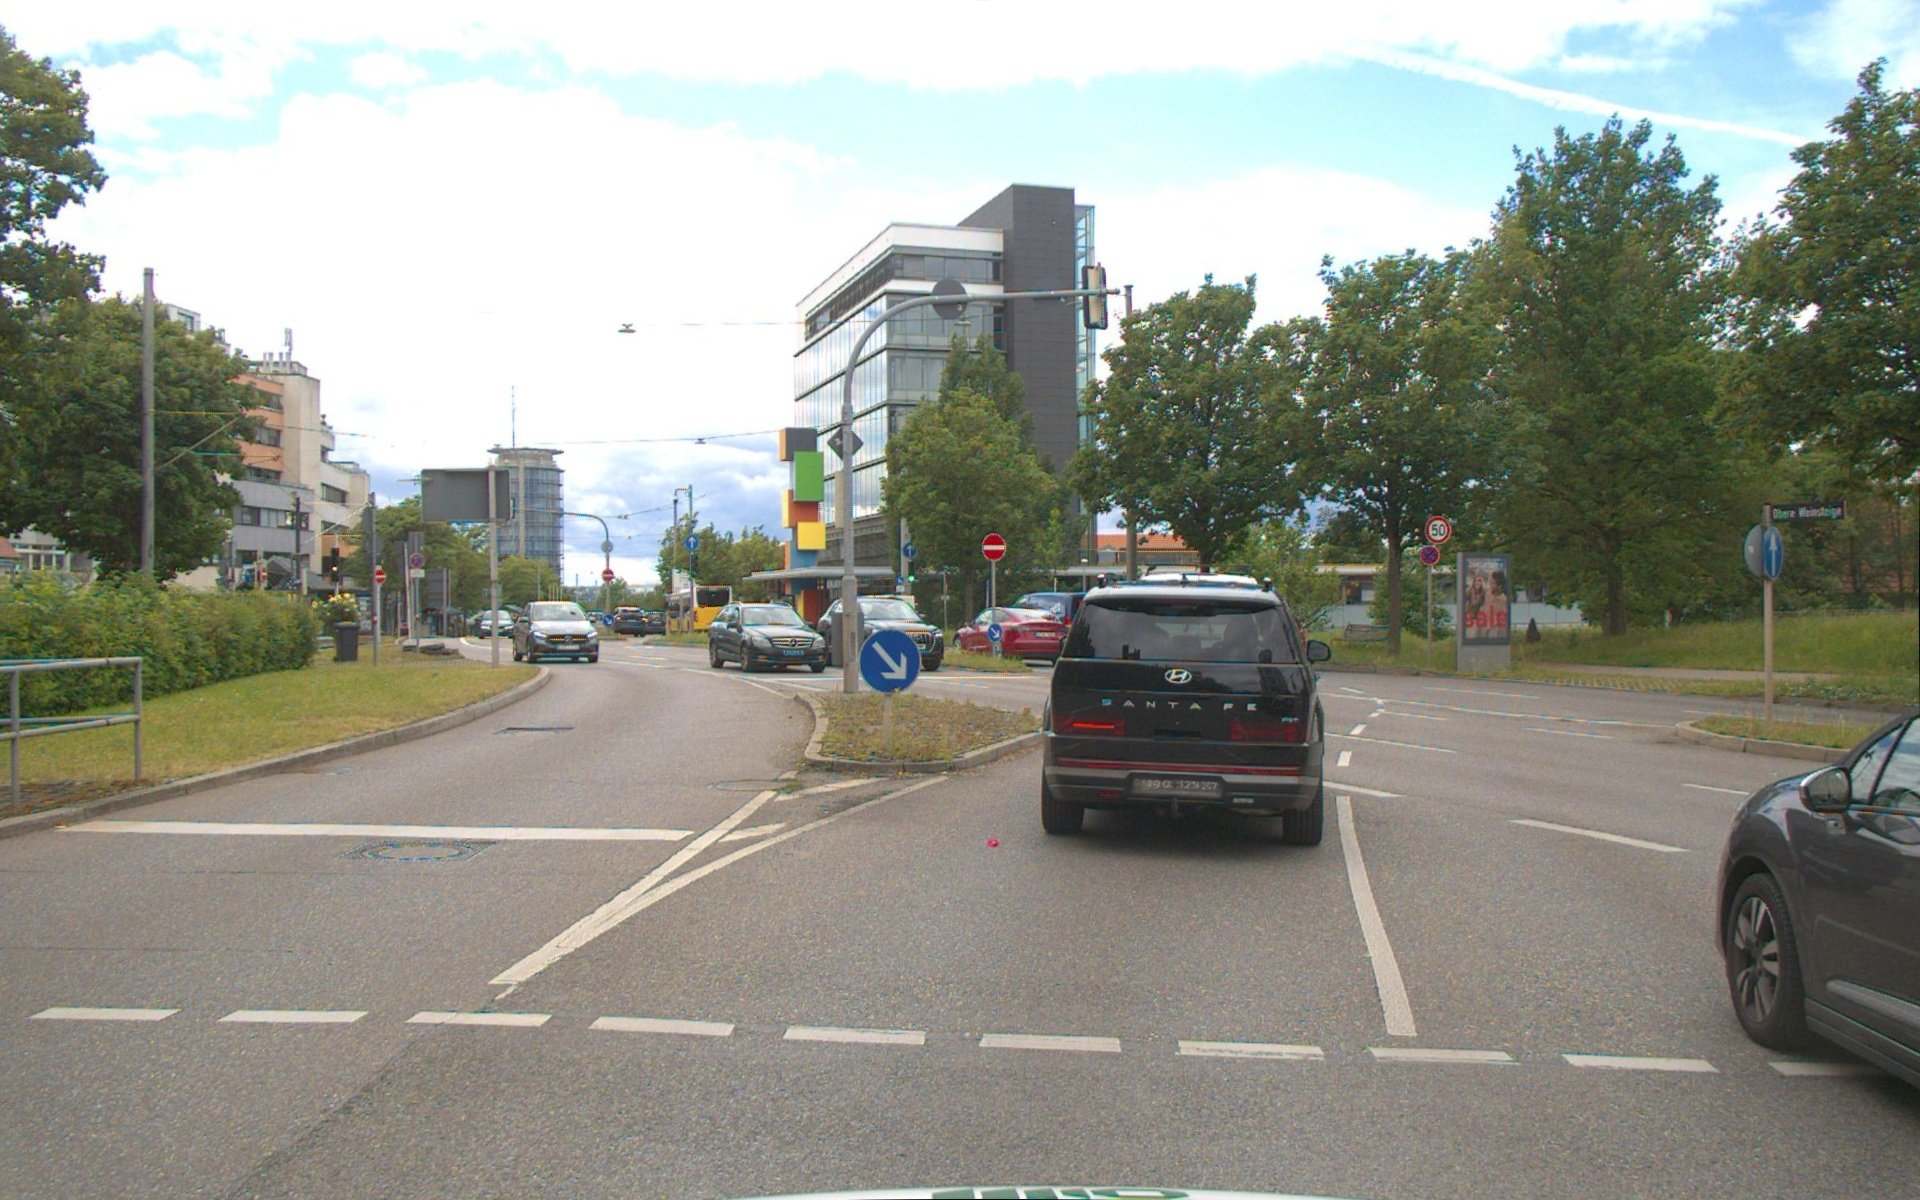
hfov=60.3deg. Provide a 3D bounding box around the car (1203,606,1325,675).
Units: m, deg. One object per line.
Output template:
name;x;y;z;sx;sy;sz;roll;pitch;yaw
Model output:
car;6.921;0.895;38.013;1.712;1.507;3.712;1;0;-8

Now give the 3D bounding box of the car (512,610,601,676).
car;-10.609;1.096;43.327;1.757;1.564;4.369;1;0;-20

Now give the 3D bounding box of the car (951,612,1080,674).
car;1.335;1.043;41.739;1.844;1.443;4.419;1;0;-18

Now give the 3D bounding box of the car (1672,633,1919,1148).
car;3.665;0.883;4.783;1.665;1.486;4.064;1;0;3

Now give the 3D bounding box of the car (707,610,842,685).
car;-4.096;0.980;35.923;1.759;1.450;4.365;1;0;-23

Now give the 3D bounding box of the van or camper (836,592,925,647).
van or camper;-2.992;0.692;61.464;1.966;1.951;4.379;0;1;-22

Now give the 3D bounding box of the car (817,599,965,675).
car;-1.647;0.801;37.757;1.864;1.592;4.361;1;0;-25

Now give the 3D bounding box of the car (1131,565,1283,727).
car;3.405;0.589;23.106;1.861;2.003;4.639;1;0;7

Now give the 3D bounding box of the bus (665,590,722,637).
bus;-19.156;0.999;118.373;2.903;3.166;9.934;-2;0;-15

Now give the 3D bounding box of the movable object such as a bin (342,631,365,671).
movable object such as a bin;-15.957;1.328;43.499;0.556;1.030;0.833;0;-1;-22

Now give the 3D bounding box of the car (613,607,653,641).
car;-19.018;1.364;96.029;1.871;1.891;4.688;1;0;-16

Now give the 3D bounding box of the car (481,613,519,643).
car;-24.124;1.466;86.665;1.770;1.480;4.589;-1;-1;-18

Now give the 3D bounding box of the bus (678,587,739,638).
bus;-16.706;0.855;109.222;2.917;3.171;9.205;-2;0;-15

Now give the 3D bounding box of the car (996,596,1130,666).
car;2.902;0.856;47.603;1.877;1.891;4.673;1;0;-24

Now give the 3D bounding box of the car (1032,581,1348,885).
car;1.828;0.797;12.106;1.861;1.762;4.450;1;0;12
